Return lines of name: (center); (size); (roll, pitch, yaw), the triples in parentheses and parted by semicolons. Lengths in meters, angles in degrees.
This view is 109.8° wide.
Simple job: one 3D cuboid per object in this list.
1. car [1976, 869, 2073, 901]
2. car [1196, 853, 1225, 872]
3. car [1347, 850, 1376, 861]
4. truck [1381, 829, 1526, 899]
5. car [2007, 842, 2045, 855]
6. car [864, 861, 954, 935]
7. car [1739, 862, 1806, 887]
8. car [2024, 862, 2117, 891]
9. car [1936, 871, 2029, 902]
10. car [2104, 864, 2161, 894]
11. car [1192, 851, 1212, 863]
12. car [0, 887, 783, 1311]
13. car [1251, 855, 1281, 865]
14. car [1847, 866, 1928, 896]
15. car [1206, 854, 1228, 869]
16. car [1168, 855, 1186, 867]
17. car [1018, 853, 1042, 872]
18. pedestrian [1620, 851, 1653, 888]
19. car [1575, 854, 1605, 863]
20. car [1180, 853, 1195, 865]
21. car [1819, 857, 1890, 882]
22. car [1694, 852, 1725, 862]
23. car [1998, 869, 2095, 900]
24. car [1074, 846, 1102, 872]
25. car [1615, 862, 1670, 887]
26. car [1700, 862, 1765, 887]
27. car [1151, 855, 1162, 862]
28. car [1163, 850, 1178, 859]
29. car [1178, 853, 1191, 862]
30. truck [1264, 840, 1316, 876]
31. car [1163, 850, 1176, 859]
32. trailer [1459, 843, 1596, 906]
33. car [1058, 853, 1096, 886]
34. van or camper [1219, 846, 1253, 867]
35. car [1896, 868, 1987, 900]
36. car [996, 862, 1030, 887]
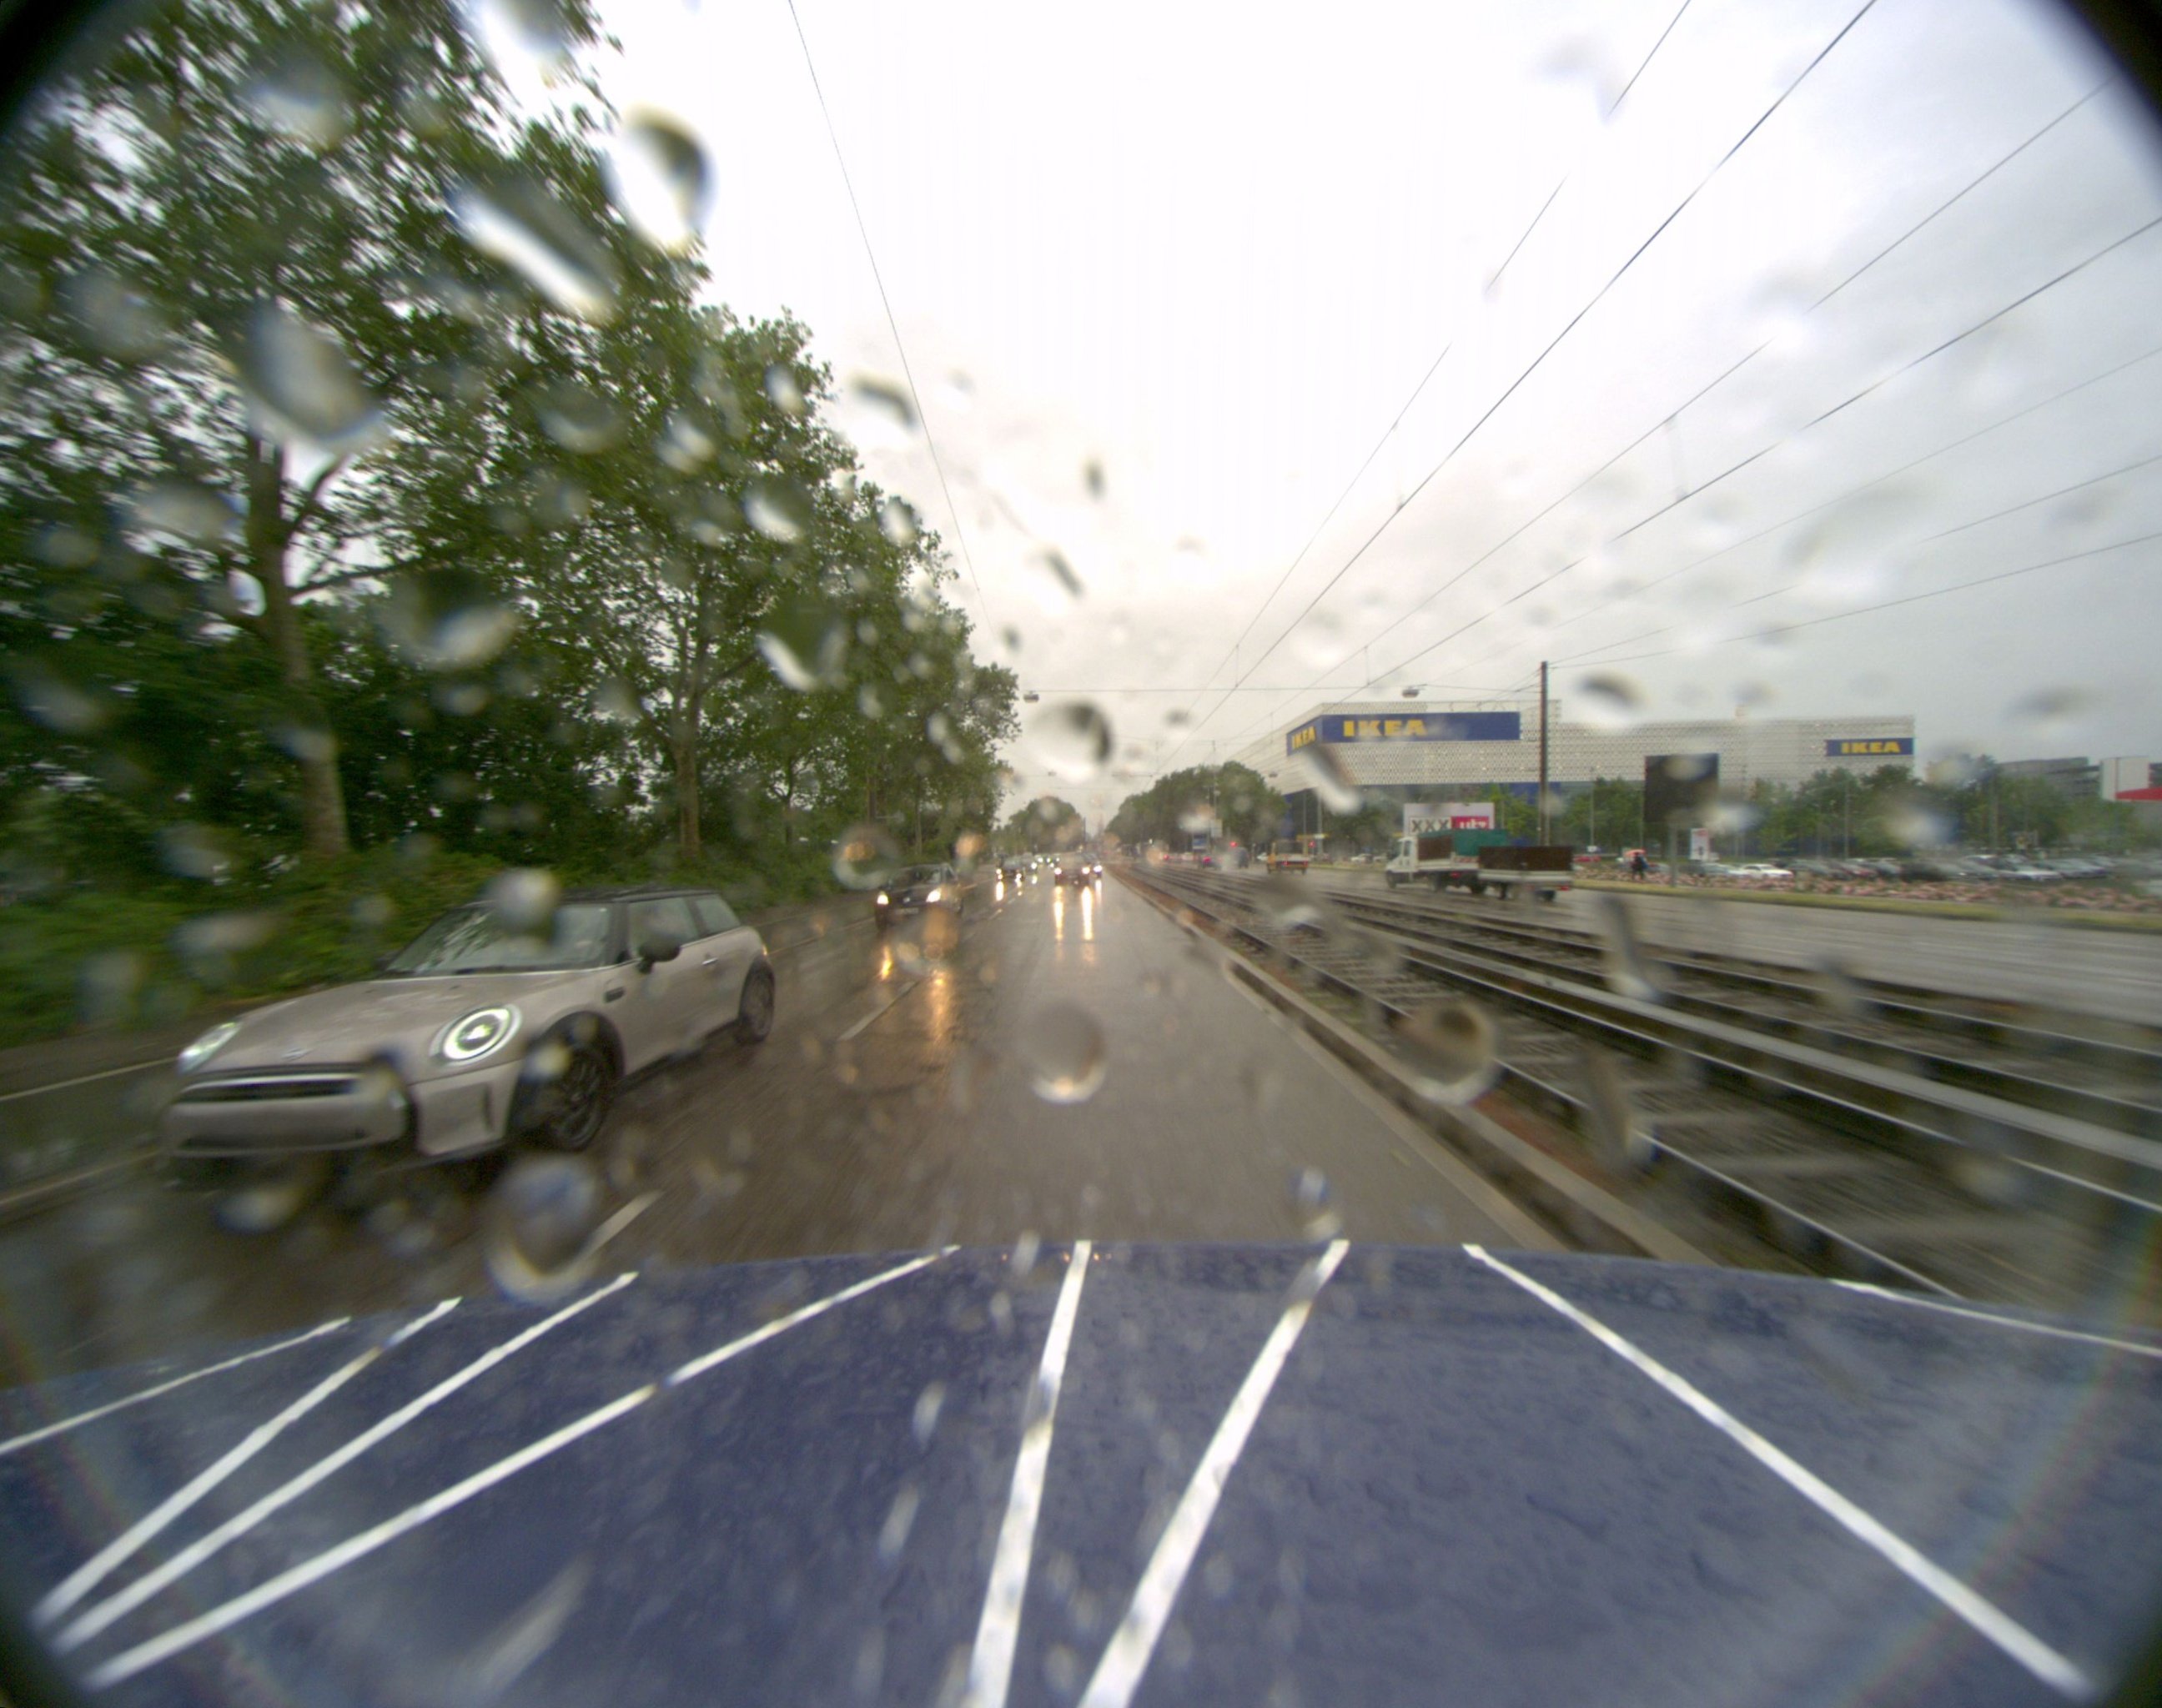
car: (68.256, 2.187, 55.065); (1.999, 2.002, 3.999); (-3, 1, -2)
car: (11.725, 0.759, 68.974); (1.823, 1.613, 4.535); (-1, 1, 1)
car: (47.000, 0.274, 127.229); (4.106, 1.594, 2.000); (-3, 1, 1)
truck: (14.578, 0.321, 30.456); (2.441, 2.443, 7.219); (0, 0, 2)
car: (161.459, -0.924, 129.827); (3.996, 2.002, 2.000); (-3, 1, 2)
car: (-3.993, 0.962, 18.013); (1.778, 1.453, 4.089); (-3, -1, -11)
car: (59.916, 1.739, 65.932); (1.999, 2.002, 4.090); (-3, 0, -2)
car: (77.308, 1.749, 59.473); (1.999, 2.002, 3.998); (-3, 1, -3)
car: (65.414, 2.320, 55.240); (1.999, 2.002, 3.999); (-3, 1, -2)
car: (77.599, 1.798, 54.844); (1.999, 2.002, 3.998); (-3, 1, -3)
car: (16.115, 0.439, 101.111); (1.968, 1.507, 4.554); (1, 1, 1)
car: (-3.623, 1.071, 4.969); (1.796, 1.406, 3.853); (-2, 1, 0)
car: (31.153, 0.971, 127.956); (4.459, 1.531, 1.820); (-2, -1, 2)
car: (62.980, 2.070, 59.418); (1.999, 2.002, 3.999); (-3, 1, -2)
car: (15.577, 0.869, 87.270); (1.862, 1.608, 4.908); (1, 1, 2)
car: (13.348, 0.946, 105.862); (1.863, 1.485, 4.689); (0, 1, 0)
car: (-4.326, 0.754, 64.814); (1.715, 1.515, 4.043); (-3, -1, 0)
pedestrian: (27.712, 0.779, 37.890); (0.824, 1.752, 1.050); (-4, 1, 3)
car: (86.635, 0.791, 129.266); (3.982, 1.399, 1.602); (-3, 1, 3)
car: (18.077, 0.827, 129.573); (1.998, 1.823, 4.692); (-1, 1, 2)
car: (67.040, 1.308, 65.911); (1.999, 2.002, 3.999); (-3, 1, -2)
car: (105.952, 0.462, 128.128); (3.821, 1.399, 1.602); (-3, 1, 3)
car: (70.980, 2.189, 55.943); (1.999, 2.002, 3.999); (-3, 1, -2)
car: (0.449, 0.341, 49.302); (1.715, 1.515, 4.043); (-3, -1, 0)
car: (52.236, 1.878, 70.764); (1.999, 2.002, 3.999); (-3, 0, -2)
car: (56.925, 1.766, 66.509); (1.999, 2.002, 4.090); (-3, 0, -2)
car: (15.405, 0.940, 155.014); (1.927, 1.415, 5.084); (2, -1, 2)
car: (14.603, 0.019, 124.458); (1.998, 1.448, 4.671); (1, 1, 1)
car: (20.096, 0.630, 147.746); (1.912, 1.597, 4.842); (-4, 0, 0)
truck: (15.285, 0.251, 55.921); (2.232, 2.447, 6.066); (1, 1, 1)
car: (16.214, 0.115, 139.687); (1.877, 1.564, 4.329); (-3, -1, 2)
trailer: (14.397, 0.593, 24.784); (2.124, 1.782, 3.836); (-3, 0, 0)
car: (-0.238, 0.822, 40.384); (1.876, 1.573, 4.043); (-3, -1, -1)
van or camper: (15.297, 0.197, 75.233); (2.310, 2.002, 5.686); (0, 1, 2)
car: (62.589, 2.143, 55.356); (1.999, 2.002, 3.999); (-3, 1, -2)
car: (-4.254, 1.269, 48.321); (1.715, 1.476, 4.043); (-3, -1, 0)
